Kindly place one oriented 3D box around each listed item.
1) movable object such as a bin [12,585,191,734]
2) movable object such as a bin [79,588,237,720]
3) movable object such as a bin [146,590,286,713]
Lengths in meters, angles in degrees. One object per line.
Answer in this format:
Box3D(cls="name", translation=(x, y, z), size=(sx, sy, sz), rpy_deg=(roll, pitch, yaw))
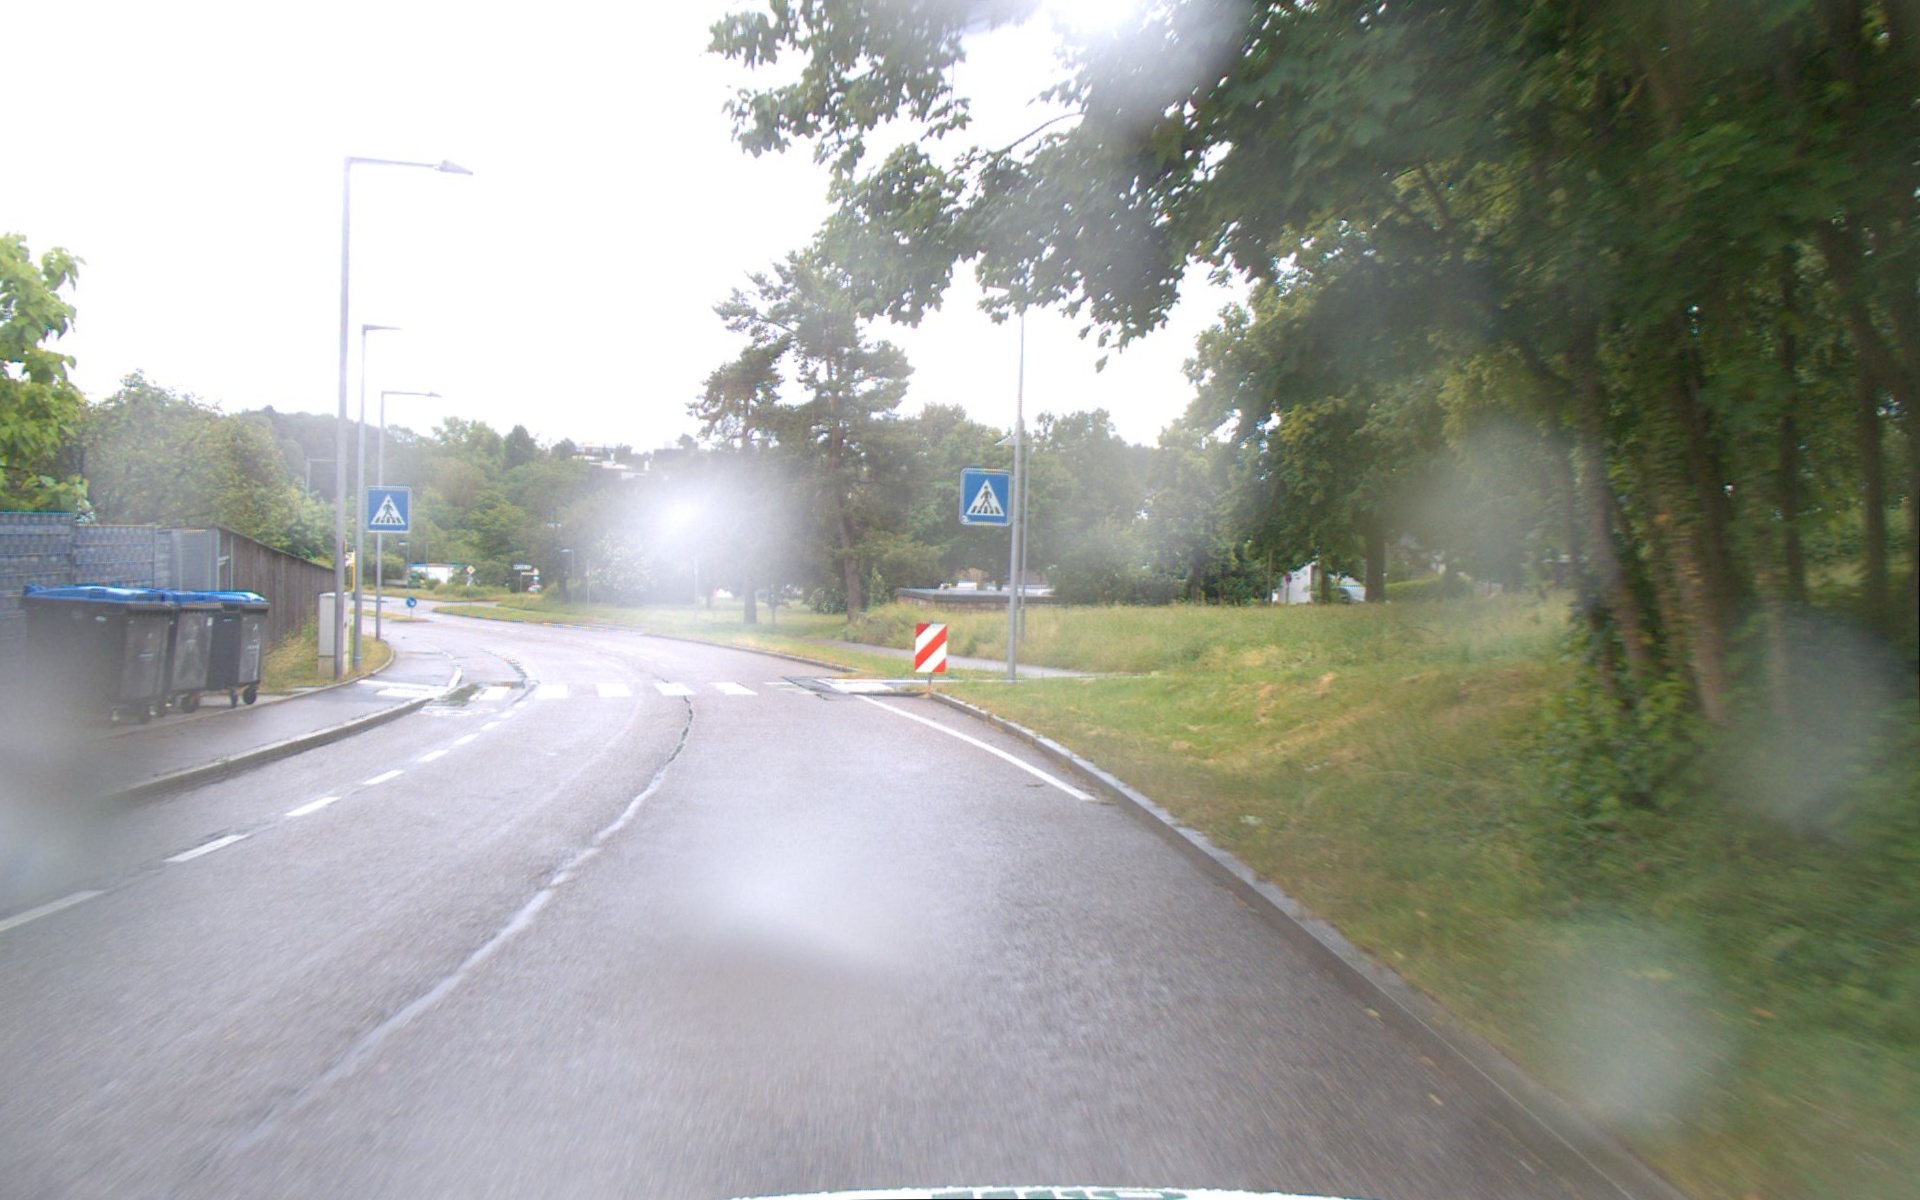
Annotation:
Box3D(cls="movable object such as a bin", translation=(-8.487, 0.562, 16.435), size=(1.110, 1.362, 1.396), rpy_deg=(3, 0, -9))
Box3D(cls="movable object such as a bin", translation=(-8.726, 0.565, 18.076), size=(1.110, 1.324, 1.395), rpy_deg=(4, 0, -9))
Box3D(cls="movable object such as a bin", translation=(-8.842, 0.591, 19.723), size=(1.110, 1.345, 1.359), rpy_deg=(4, 0, -9))
